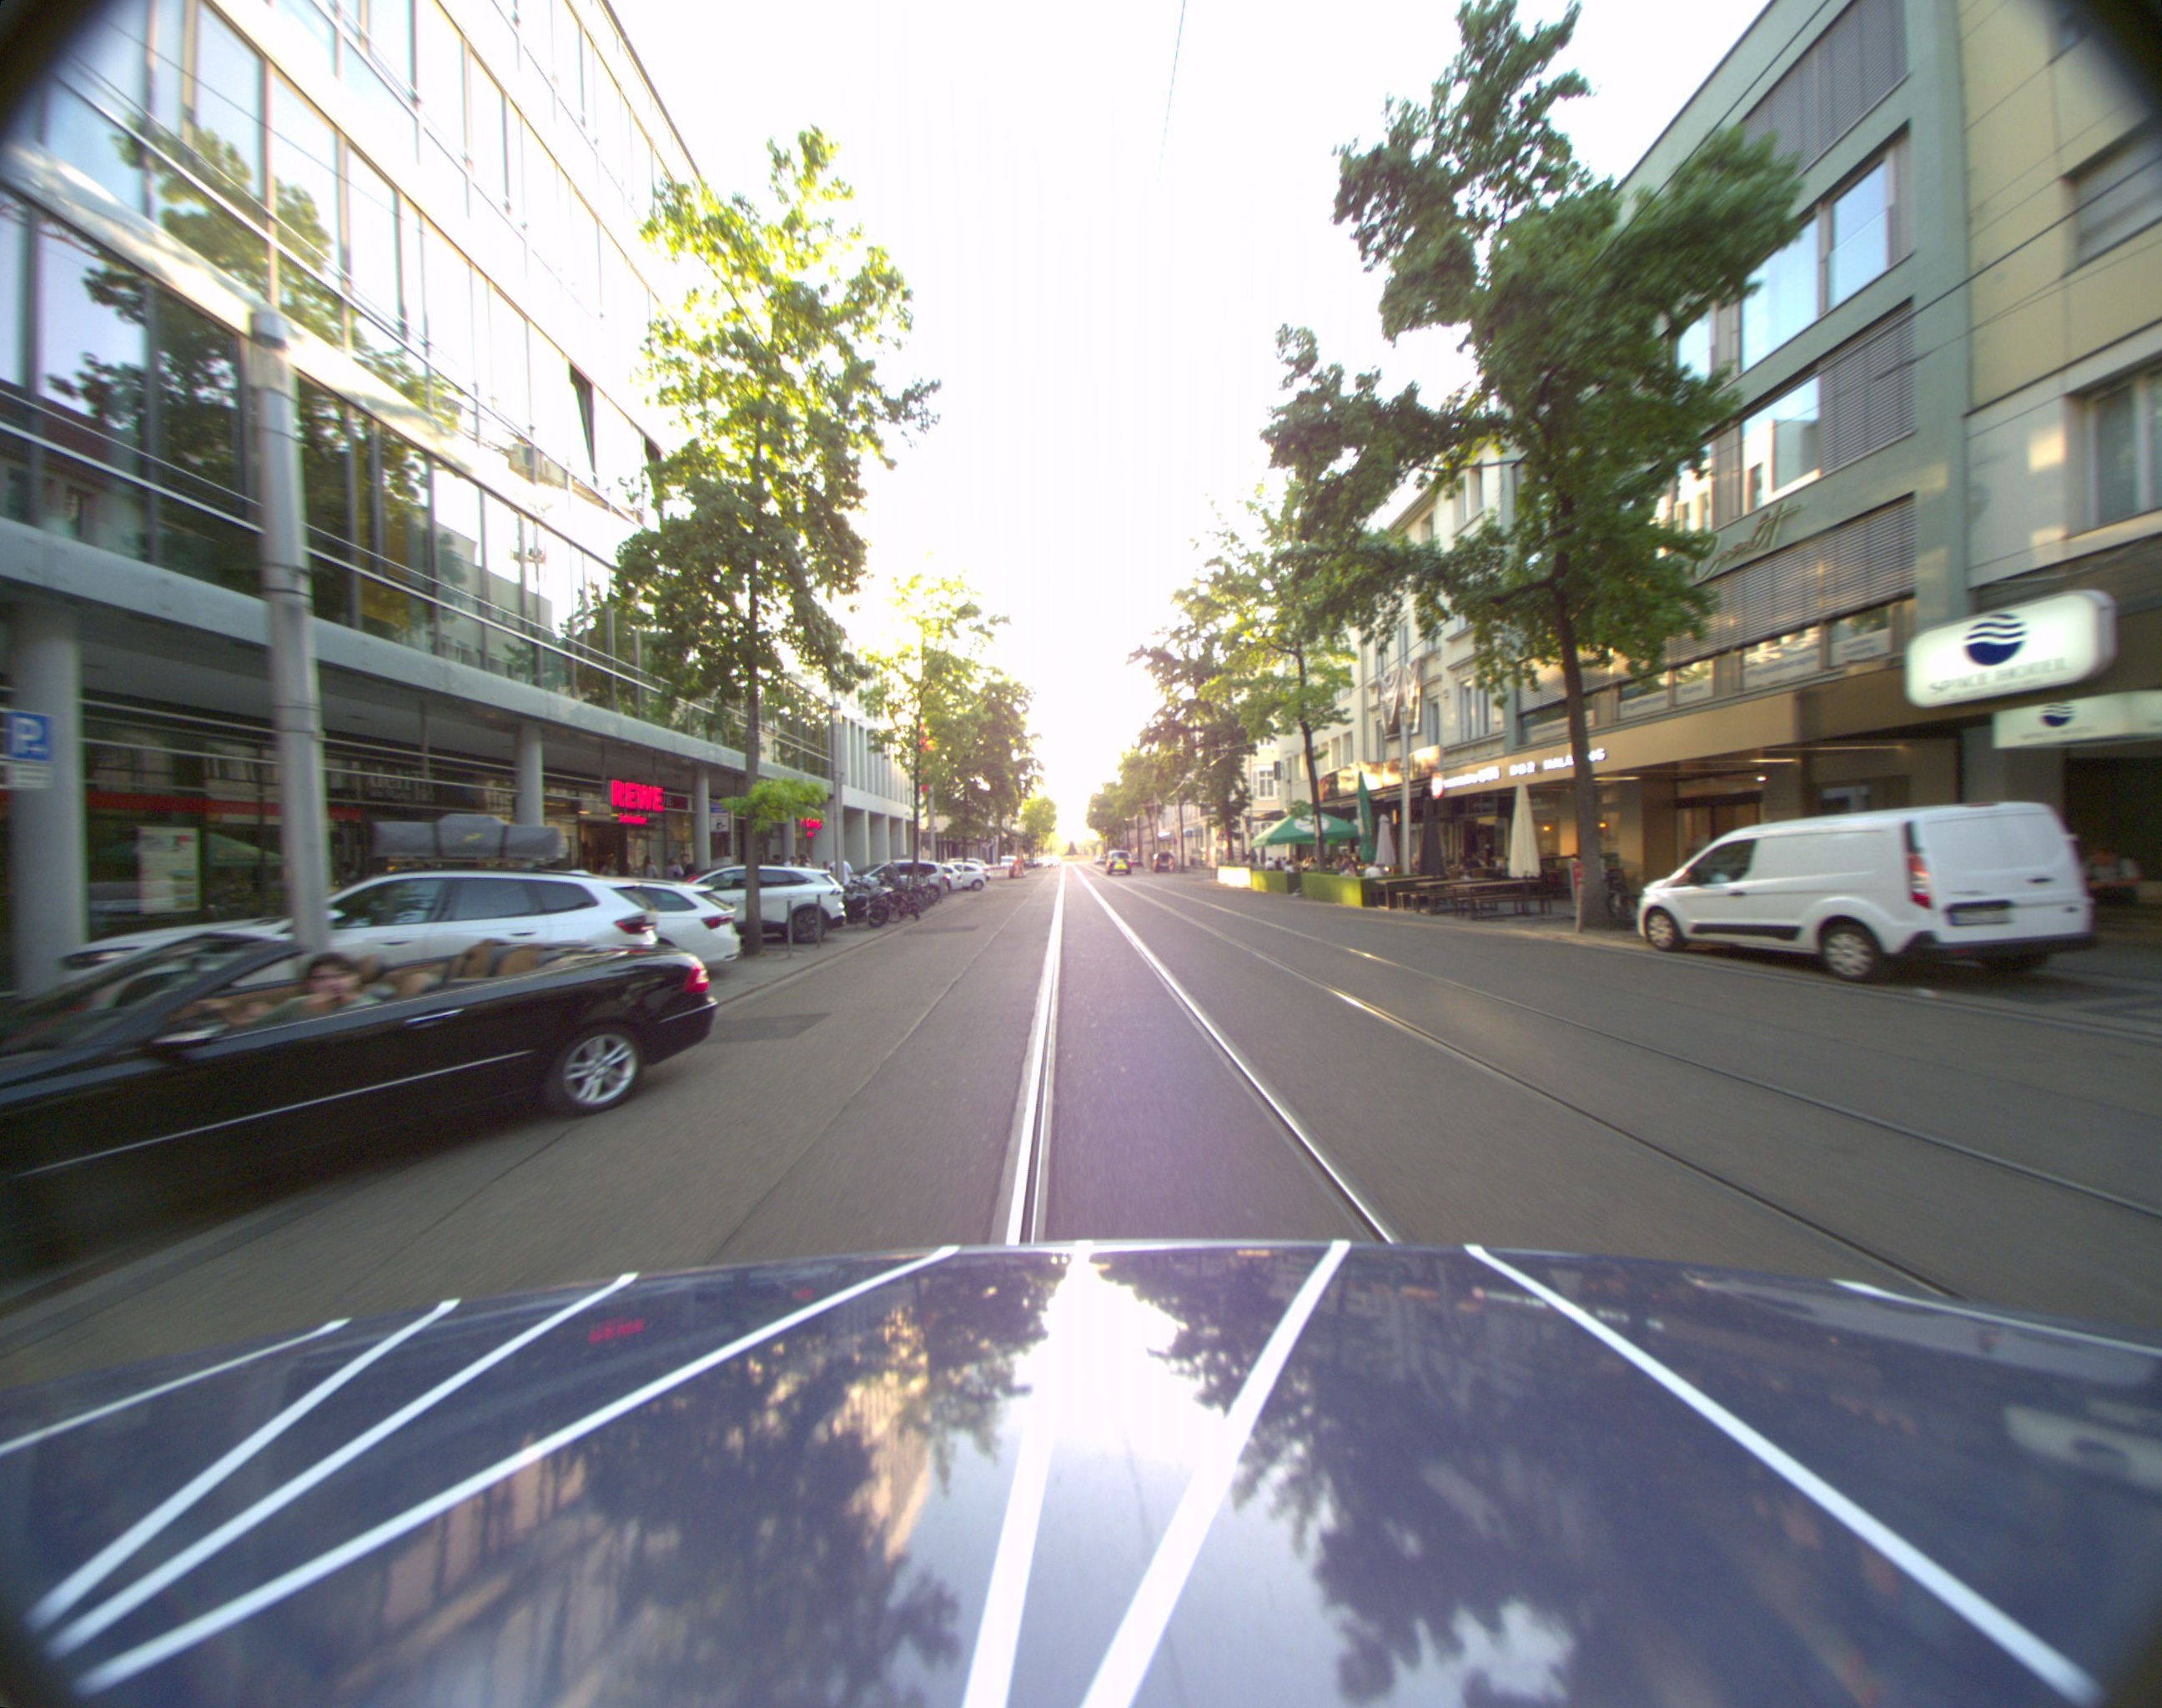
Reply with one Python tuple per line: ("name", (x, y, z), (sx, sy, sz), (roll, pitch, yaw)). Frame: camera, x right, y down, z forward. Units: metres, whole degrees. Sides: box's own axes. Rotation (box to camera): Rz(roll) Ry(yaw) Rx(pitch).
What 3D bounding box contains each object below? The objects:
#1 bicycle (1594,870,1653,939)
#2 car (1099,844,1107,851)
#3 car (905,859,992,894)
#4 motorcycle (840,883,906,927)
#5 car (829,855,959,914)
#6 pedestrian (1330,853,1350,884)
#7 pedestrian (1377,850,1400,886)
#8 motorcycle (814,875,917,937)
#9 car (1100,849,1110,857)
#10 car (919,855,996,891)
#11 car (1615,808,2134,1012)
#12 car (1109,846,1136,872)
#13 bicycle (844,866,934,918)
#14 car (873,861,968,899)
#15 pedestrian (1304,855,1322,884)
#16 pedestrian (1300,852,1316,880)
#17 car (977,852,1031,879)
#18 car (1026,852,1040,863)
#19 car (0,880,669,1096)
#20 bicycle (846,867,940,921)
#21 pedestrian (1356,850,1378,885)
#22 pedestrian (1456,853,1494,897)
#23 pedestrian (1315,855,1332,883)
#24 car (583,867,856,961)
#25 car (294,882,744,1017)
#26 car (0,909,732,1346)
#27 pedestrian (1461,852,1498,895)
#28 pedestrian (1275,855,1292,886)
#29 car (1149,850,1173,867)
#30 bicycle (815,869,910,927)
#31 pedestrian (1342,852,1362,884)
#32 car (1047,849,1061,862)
("bicycle", (9.743, 0.875, 13.629), (1.804, 1.101, 0.499), (-2, 1, -43))
("car", (5.360, -1.618, 188.678), (1.799, 1.501, 4.000), (-1, 0, 0))
("car", (-6.948, 1.160, 39.965), (4.005, 1.501, 1.861), (-4, 1, -30))
("motorcycle", (-5.455, 1.330, 19.961), (1.574, 1.093, 0.627), (1, 0, -26))
("car", (-7.232, 1.146, 29.599), (4.474, 1.869, 1.796), (-4, 1, -38))
("pedestrian", (12.165, 0.678, 35.696), (0.650, 1.451, 0.650), (-1, 1, -3))
("pedestrian", (12.608, 0.573, 31.188), (0.650, 1.451, 0.650), (-1, 1, -3))
("motorcycle", (-5.212, 1.210, 18.472), (1.153, 1.346, 2.115), (1, 0, 41))
("car", (4.476, -0.173, 142.941), (1.799, 1.501, 4.000), (-1, 0, 0))
("car", (-7.285, 1.071, 44.673), (4.004, 1.776, 1.861), (-4, 1, -25))
("car", (9.053, 0.531, 9.376), (1.831, 1.811, 4.329), (-4, 0, 1))
("car", (3.396, 0.402, 63.498), (1.998, 2.002, 4.000), (-1, 0, 0))
("bicycle", (-6.285, 1.218, 24.962), (2.677, 1.448, 0.675), (-4, 1, -27))
("car", (-7.670, 1.224, 36.410), (4.005, 1.501, 1.796), (-4, 1, -30))
("pedestrian", (12.116, 0.800, 39.677), (0.650, 1.451, 0.650), (-1, 1, -3))
("pedestrian", (12.122, 0.649, 40.611), (0.650, 1.451, 0.650), (-1, 1, -3))
("car", (-5.808, 0.836, 57.559), (1.860, 1.776, 4.007), (-3, 1, 34))
("car", (-7.109, 0.451, 112.183), (1.793, 1.499, 3.999), (-2, 1, 0))
("car", (-6.948, 1.095, 7.811), (4.646, 1.619, 1.914), (1, -2, -33))
("bicycle", (-5.894, 1.216, 23.861), (2.677, 1.448, 0.728), (-4, 1, -27))
("pedestrian", (12.084, 0.581, 32.097), (0.650, 1.451, 0.650), (-1, 1, -3))
("pedestrian", (11.948, 0.631, 23.039), (0.701, 1.308, 0.786), (-1, 1, -5))
("pedestrian", (12.691, 0.779, 39.732), (0.650, 1.451, 0.650), (-1, 1, -3))
("car", (-7.112, 1.065, 15.142), (4.646, 1.578, 1.913), (1, 0, -35))
("car", (-7.270, 1.152, 10.509), (4.645, 1.431, 1.914), (1, 0, -28))
("car", (-4.545, 1.205, 4.184), (1.795, 1.400, 4.573), (-2, 1, 27))
("pedestrian", (12.559, 0.600, 23.970), (0.701, 1.308, 0.786), (-1, 1, -5))
("pedestrian", (9.278, 0.758, 34.774), (0.649, 1.378, 0.650), (-1, 1, 6))
("car", (7.492, 0.400, 71.059), (1.799, 1.501, 4.000), (-1, 0, 0))
("bicycle", (-6.328, 1.254, 22.057), (2.492, 1.448, 0.656), (-4, 1, -26))
("pedestrian", (12.671, 0.662, 35.578), (0.650, 1.451, 0.650), (-1, 1, -3))
("car", (-4.096, 0.260, 116.869), (1.998, 2.002, 4.000), (-1, 0, 0))
